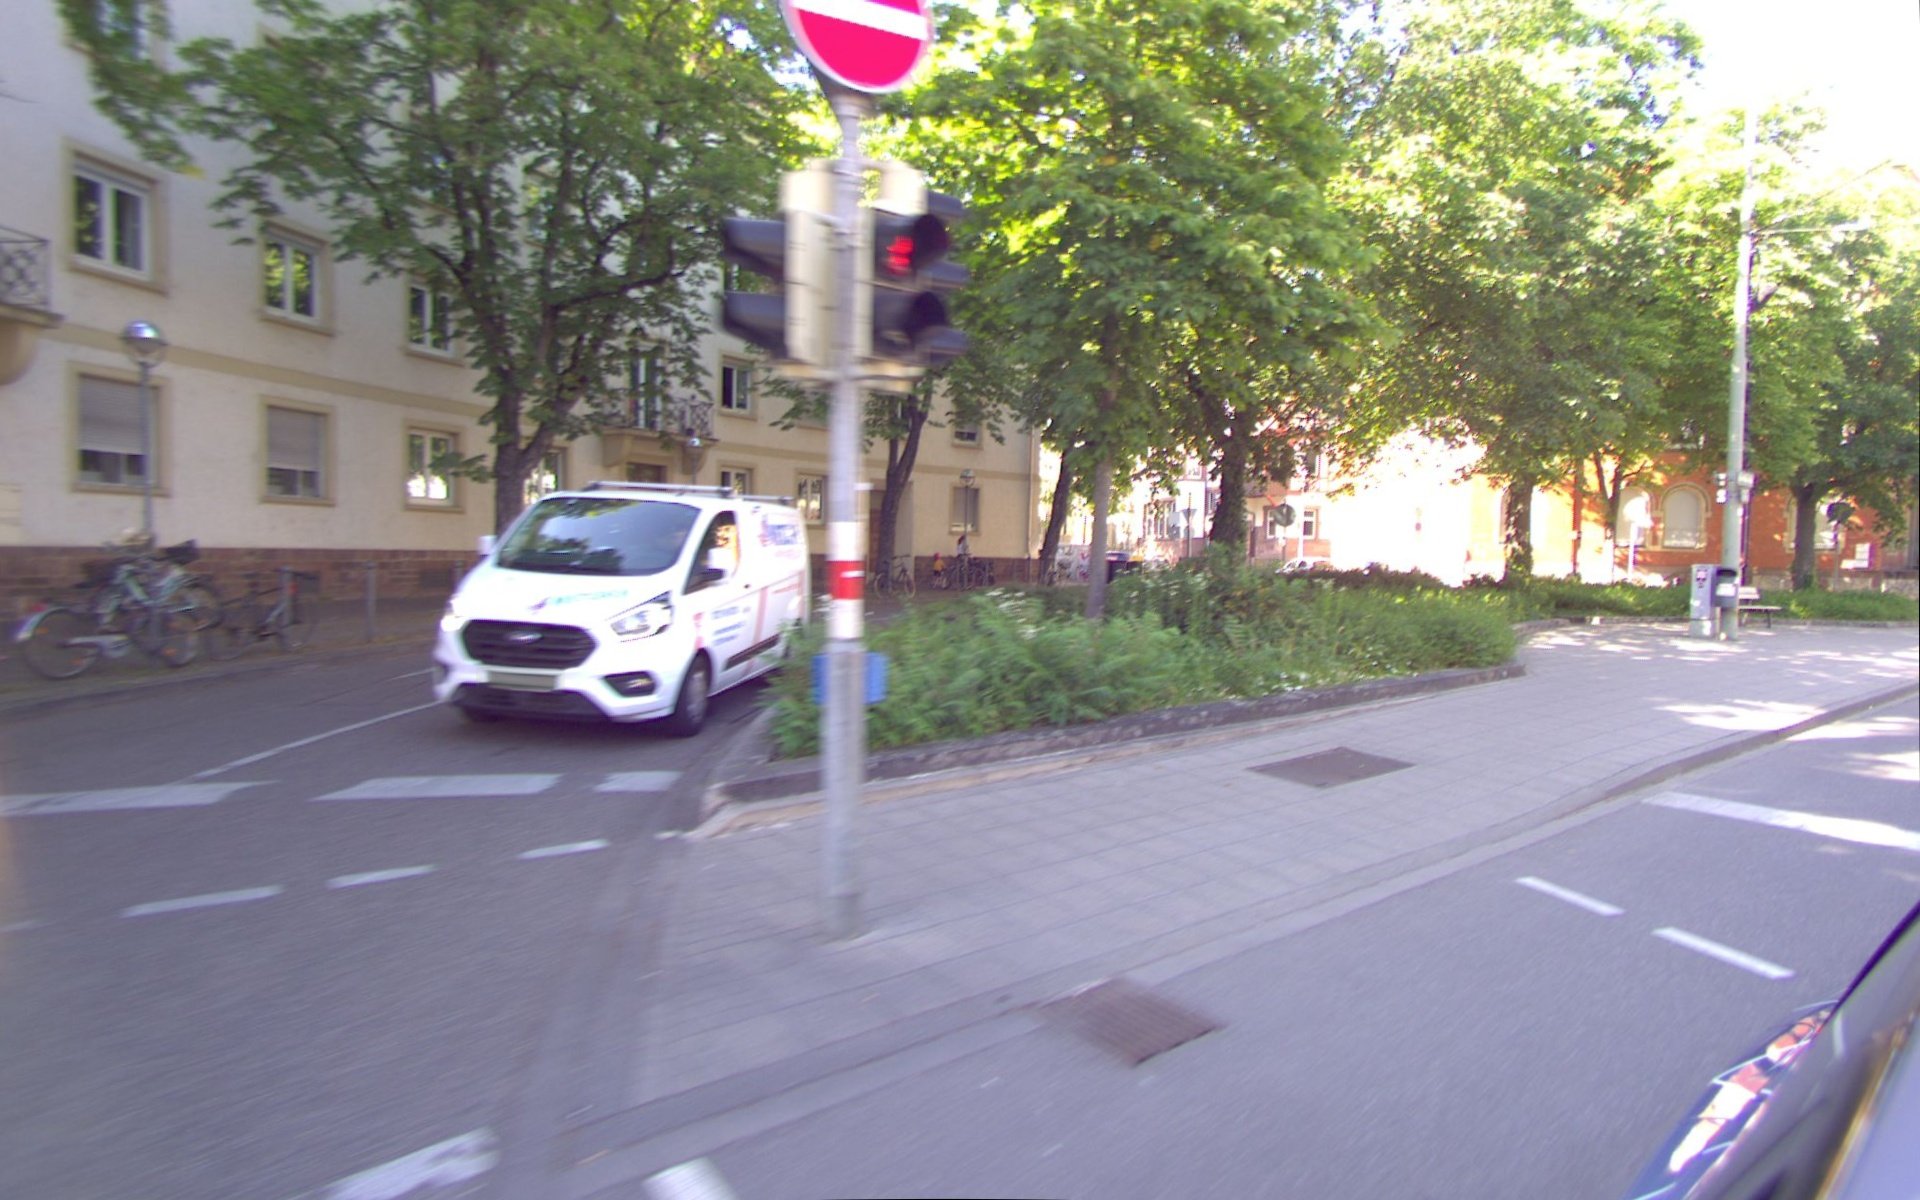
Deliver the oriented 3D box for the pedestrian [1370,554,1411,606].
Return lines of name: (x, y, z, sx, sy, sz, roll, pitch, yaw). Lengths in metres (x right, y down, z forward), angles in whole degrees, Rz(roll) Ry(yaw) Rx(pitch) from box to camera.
pedestrian: (10.591, -0.503, 24.885, 1.021, 1.247, 0.451, -1, 2, -37)

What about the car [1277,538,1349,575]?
car: (17.192, -2.101, 49.441, 1.601, 1.738, 3.811, 0, 2, -11)

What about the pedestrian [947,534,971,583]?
pedestrian: (-0.041, -1.433, 34.687, 0.618, 1.654, 0.572, -1, 2, -38)

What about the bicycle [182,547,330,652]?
bicycle: (-7.968, -0.038, 11.523, 0.421, 1.093, 1.484, 4, 3, 11)

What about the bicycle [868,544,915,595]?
bicycle: (-1.830, -0.814, 27.204, 0.425, 1.295, 1.471, 5, 3, 33)

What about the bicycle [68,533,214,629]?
bicycle: (-10.396, -0.258, 12.908, 0.421, 1.135, 1.516, 4, 3, 11)

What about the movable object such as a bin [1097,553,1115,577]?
movable object such as a bin: (6.080, -1.465, 42.198, 0.532, 0.977, 0.644, 0, 1, -10)

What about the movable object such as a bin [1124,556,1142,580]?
movable object such as a bin: (7.262, -1.345, 42.423, 0.532, 0.977, 0.644, 0, 1, -10)

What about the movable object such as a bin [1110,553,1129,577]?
movable object such as a bin: (6.676, -1.454, 42.332, 0.570, 0.977, 0.644, 0, 1, -10)

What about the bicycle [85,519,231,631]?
bicycle: (-9.950, -0.327, 12.613, 0.421, 1.295, 1.484, 4, 3, 11)

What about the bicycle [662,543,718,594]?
bicycle: (-6.348, -0.755, 23.832, 0.456, 1.129, 1.557, 4, 4, 19)

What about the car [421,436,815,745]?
car: (-2.736, -0.150, 9.405, 1.658, 2.117, 4.751, 1, 2, 6)

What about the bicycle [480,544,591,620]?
bicycle: (-7.052, -0.313, 16.919, 0.470, 1.167, 1.981, 5, 3, 17)

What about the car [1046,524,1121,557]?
car: (5.975, -2.857, 48.921, 3.277, 1.538, 1.503, 0, 2, -19)

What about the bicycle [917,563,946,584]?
bicycle: (-0.916, -0.856, 32.397, 0.431, 0.644, 0.904, 2, 2, 40)

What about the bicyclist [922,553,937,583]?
bicyclist: (-0.976, -1.018, 32.413, 0.338, 0.956, 0.387, 2, 2, 40)

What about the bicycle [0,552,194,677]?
bicycle: (-8.300, 0.096, 9.799, 0.421, 1.093, 1.484, 4, 3, 11)
